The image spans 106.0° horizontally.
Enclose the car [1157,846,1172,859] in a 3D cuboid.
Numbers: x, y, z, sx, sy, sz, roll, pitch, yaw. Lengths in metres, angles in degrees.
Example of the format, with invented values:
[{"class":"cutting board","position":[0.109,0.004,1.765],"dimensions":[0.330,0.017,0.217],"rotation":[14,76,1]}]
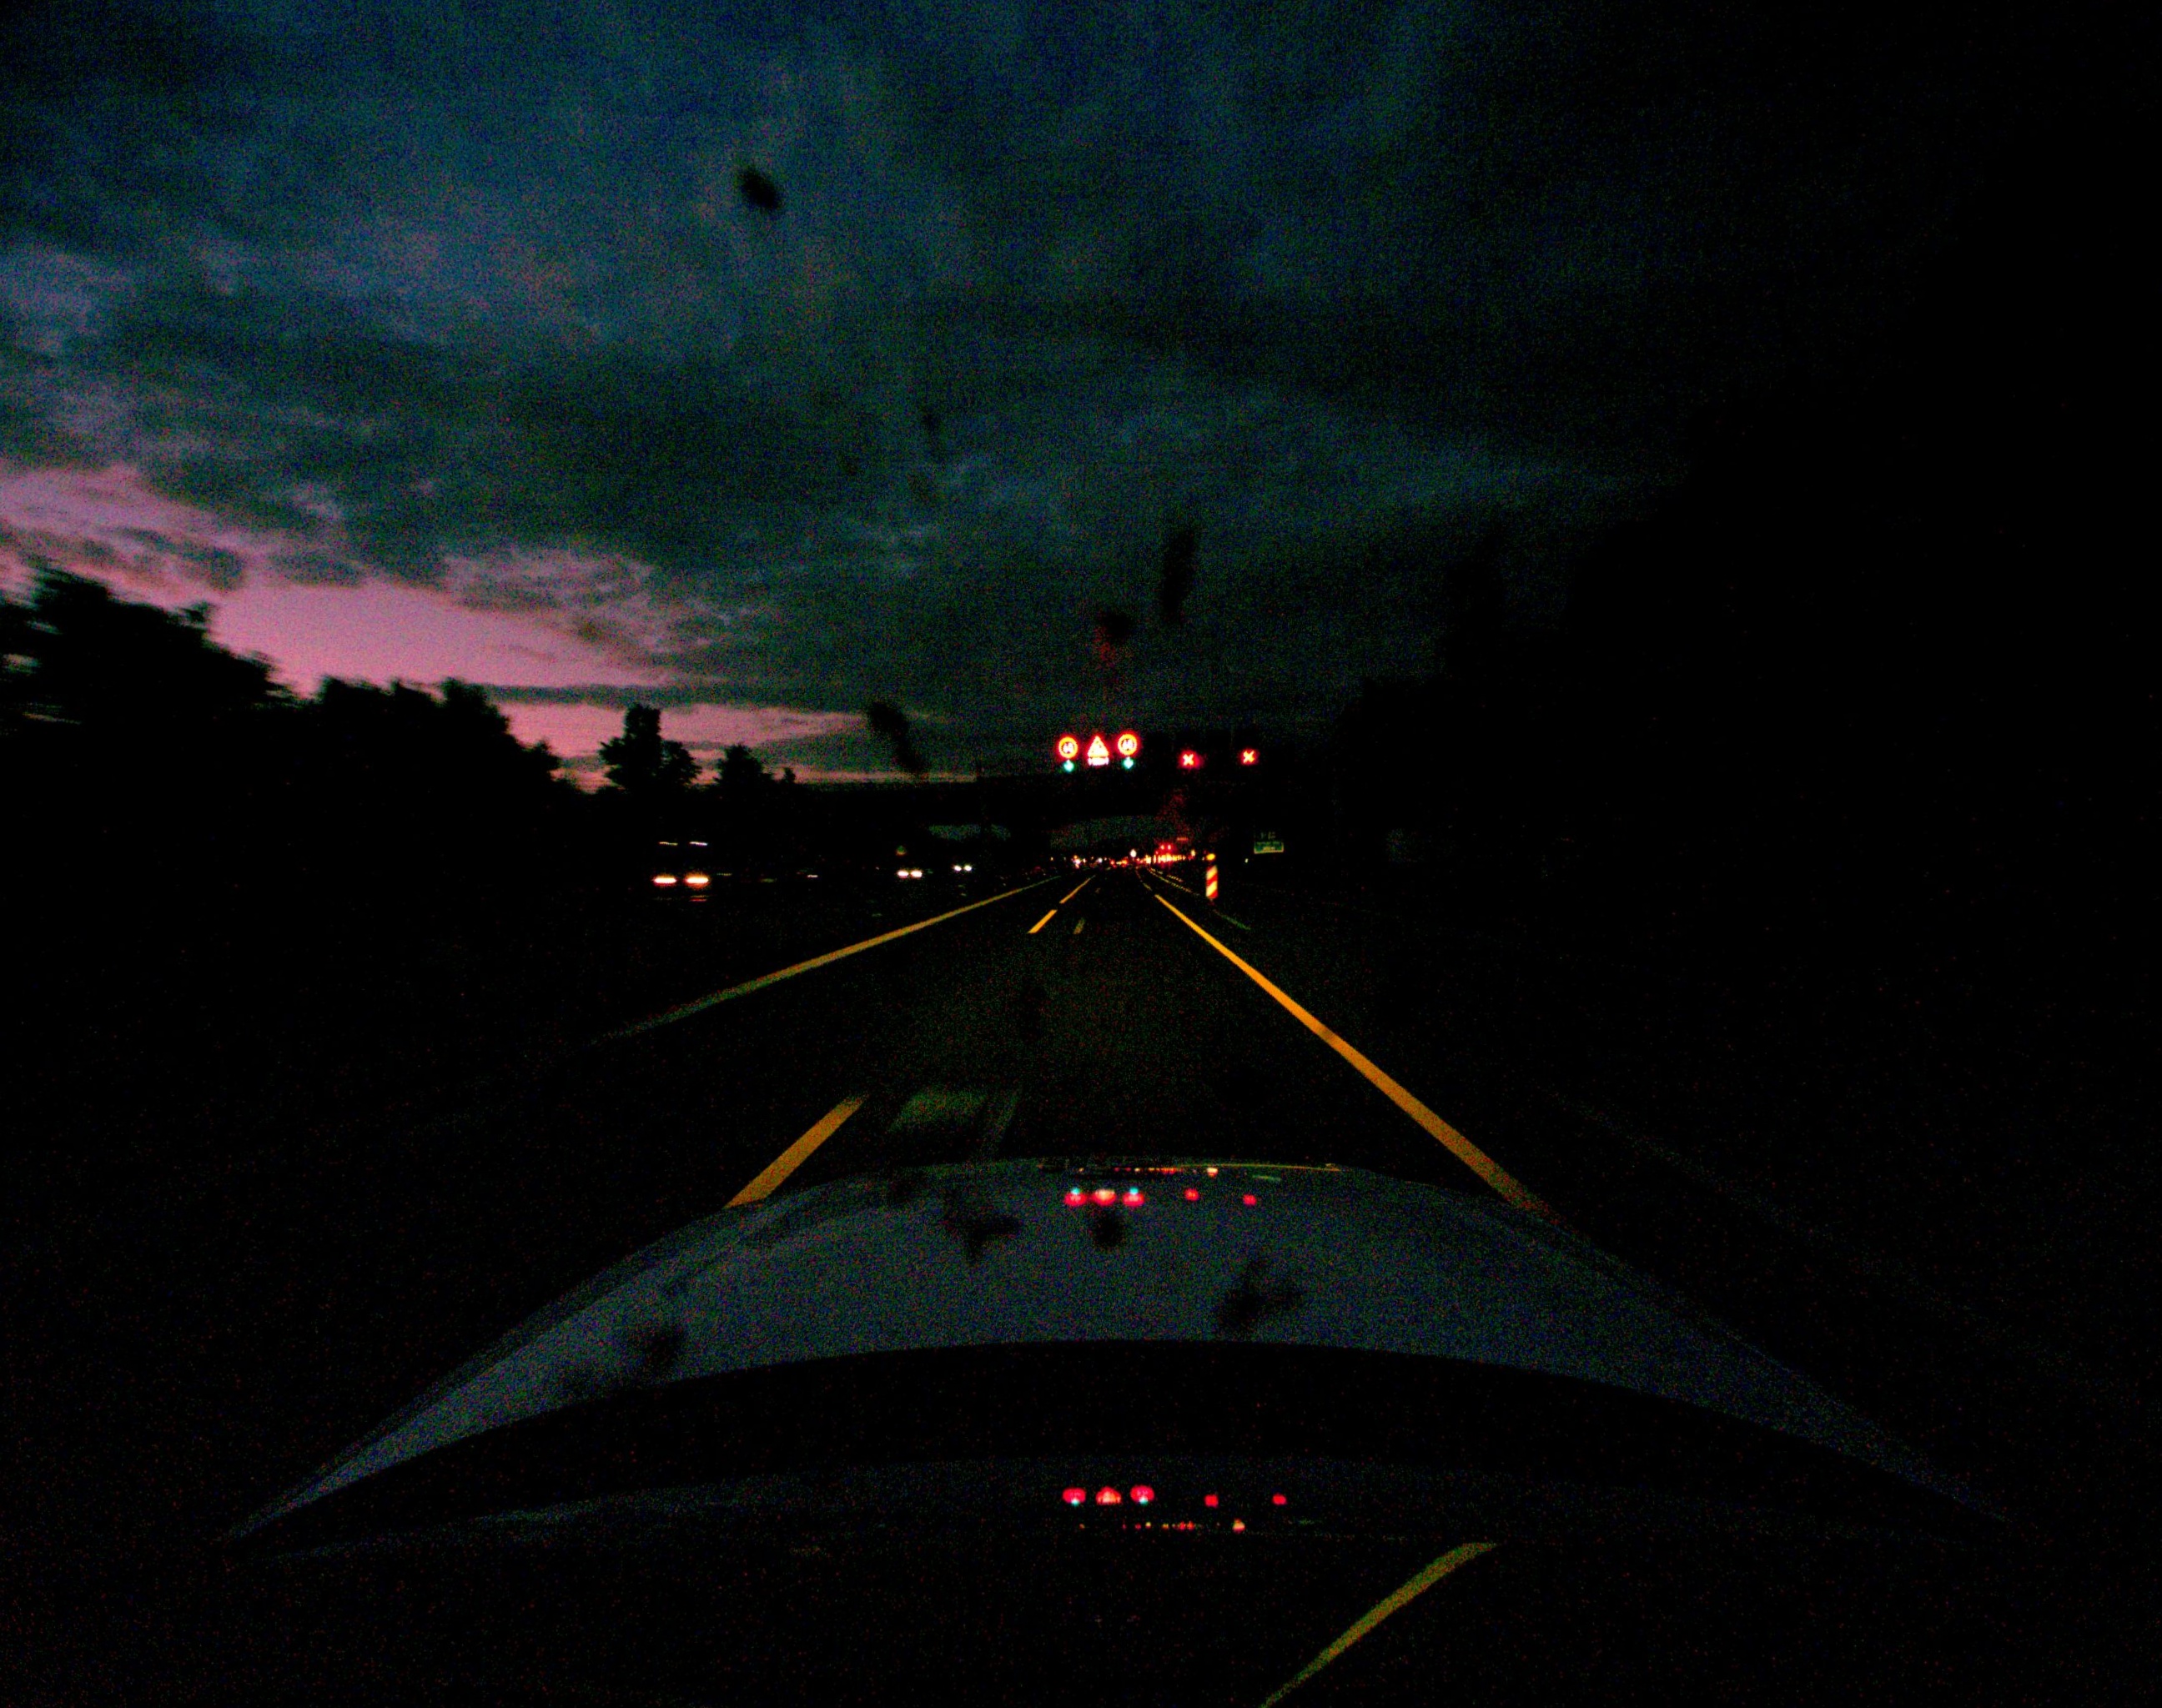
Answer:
[{"class":"car","position":[23.814,-0.396,232.562],"dimensions":[3.591,3.396,8.017],"rotation":[0,-1,2]}]

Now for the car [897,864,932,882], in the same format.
[{"class":"car","position":[-15.578,1.764,76.324],"dimensions":[1.984,1.675,4.521],"rotation":[0,-1,4]}]

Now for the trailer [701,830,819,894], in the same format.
[{"class":"trailer","position":[-23.059,0.568,59.597],"dimensions":[2.766,4.206,12.417],"rotation":[0,-1,5]}]

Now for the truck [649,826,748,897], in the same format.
[{"class":"truck","position":[-23.736,0.484,50.970],"dimensions":[2.764,4.171,6.393],"rotation":[0,-1,5]}]

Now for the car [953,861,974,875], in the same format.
[{"class":"car","position":[-15.403,1.821,106.983],"dimensions":[1.985,1.674,4.585],"rotation":[0,-1,3]}]

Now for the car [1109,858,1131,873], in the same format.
[{"class":"car","position":[4.280,1.251,88.998],"dimensions":[2.255,1.621,4.004],"rotation":[0,-1,4]}]

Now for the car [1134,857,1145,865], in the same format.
[{"class":"car","position":[10.767,1.315,149.247],"dimensions":[1.962,1.437,4.006],"rotation":[0,-1,5]}]
